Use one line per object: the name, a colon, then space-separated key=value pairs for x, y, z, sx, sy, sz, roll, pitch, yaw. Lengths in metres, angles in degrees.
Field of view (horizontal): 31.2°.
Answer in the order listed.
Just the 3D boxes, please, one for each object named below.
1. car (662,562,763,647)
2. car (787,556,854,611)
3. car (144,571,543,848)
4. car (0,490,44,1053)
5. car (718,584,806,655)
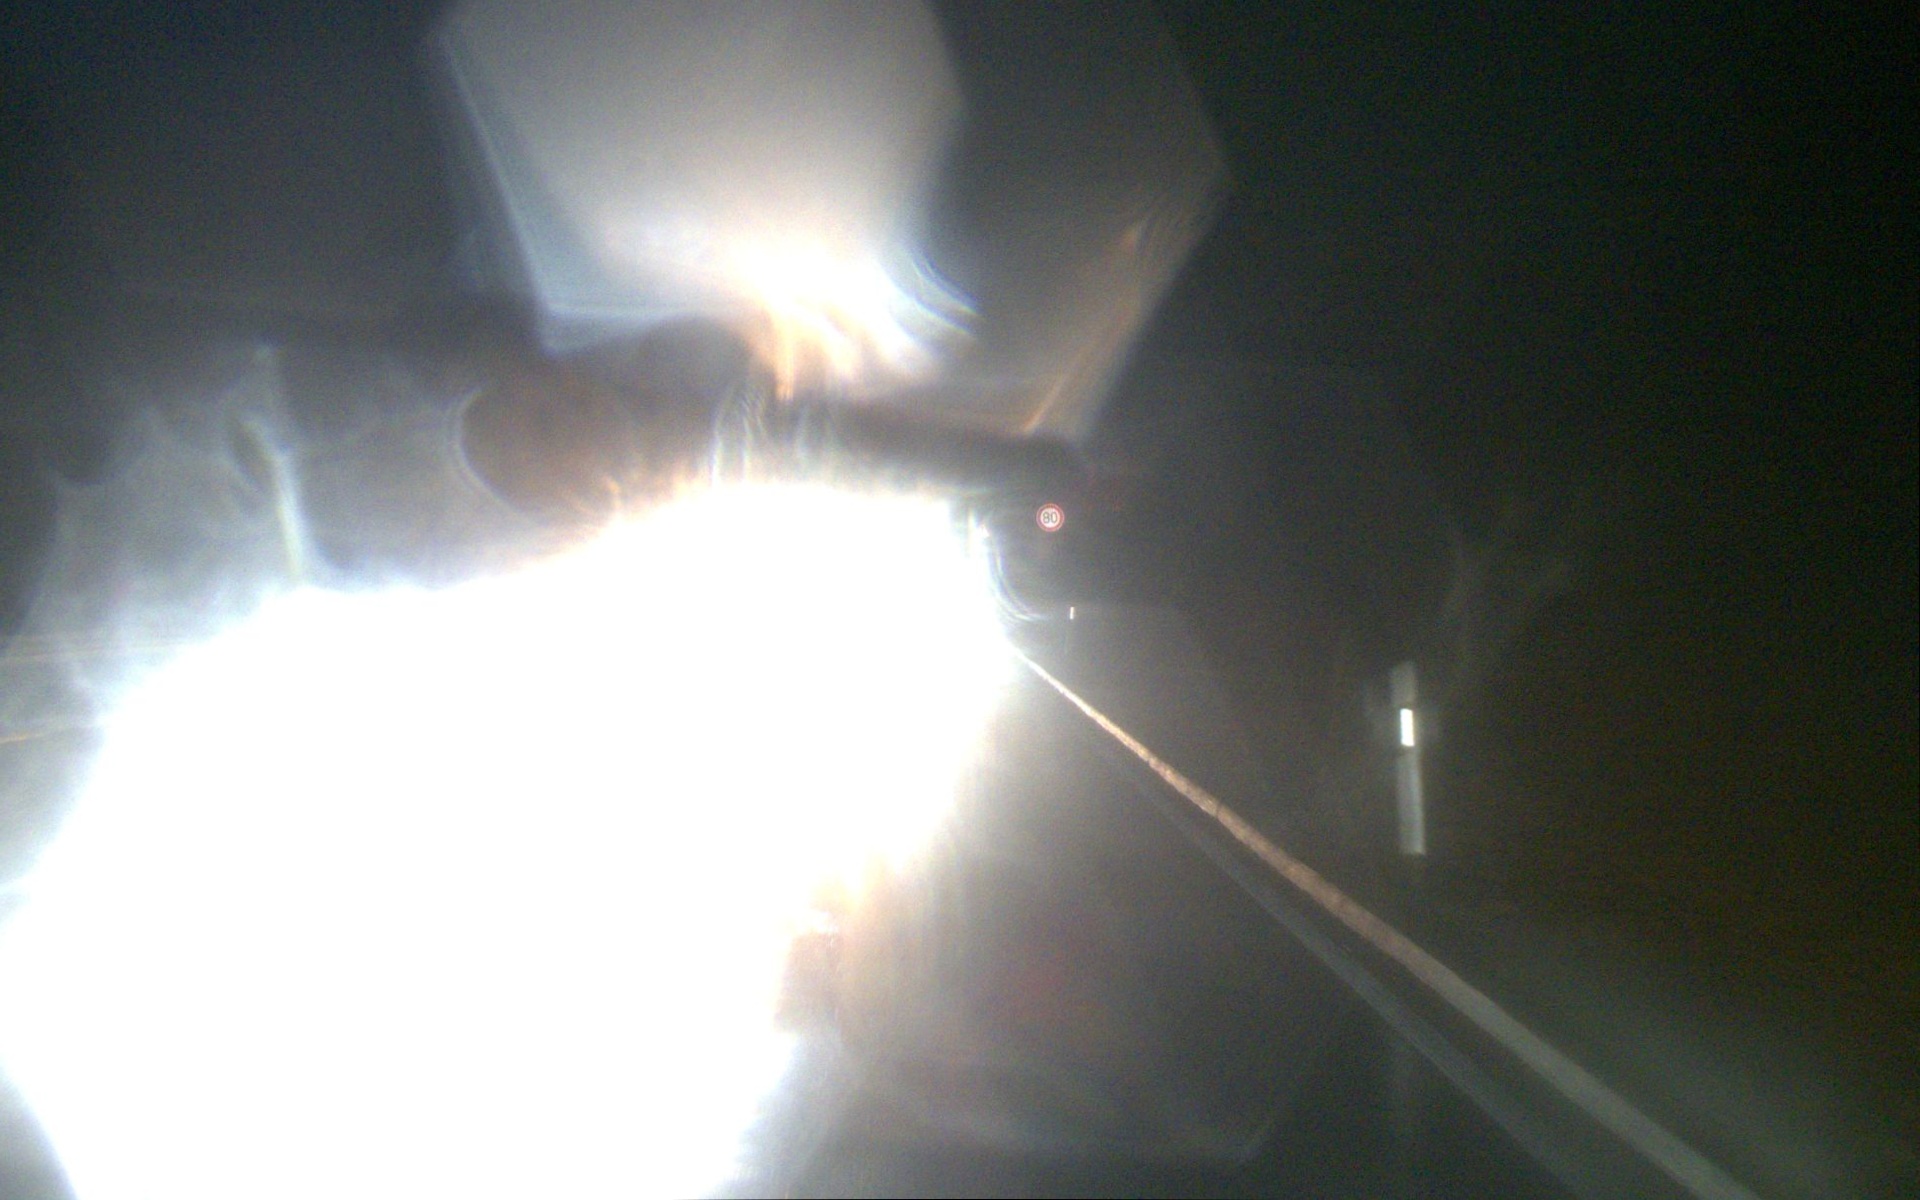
car: x=-4.536 y=0.062 z=63.460 sx=1.700 sy=1.462 sz=4.042 roll=-1 pitch=1 yaw=-2
car: x=-4.490 y=-0.508 z=110.934 sx=2.039 sy=1.602 sz=3.999 roll=-3 pitch=-1 yaw=-2
car: x=-3.896 y=0.632 z=22.388 sx=1.888 sy=1.581 sz=4.000 roll=-1 pitch=1 yaw=0
car: x=-3.779 y=0.546 z=8.652 sx=1.888 sy=1.665 sz=4.000 roll=-1 pitch=1 yaw=0
car: x=-4.924 y=0.493 z=86.033 sx=1.888 sy=1.629 sz=4.391 roll=-3 pitch=0 yaw=-1
